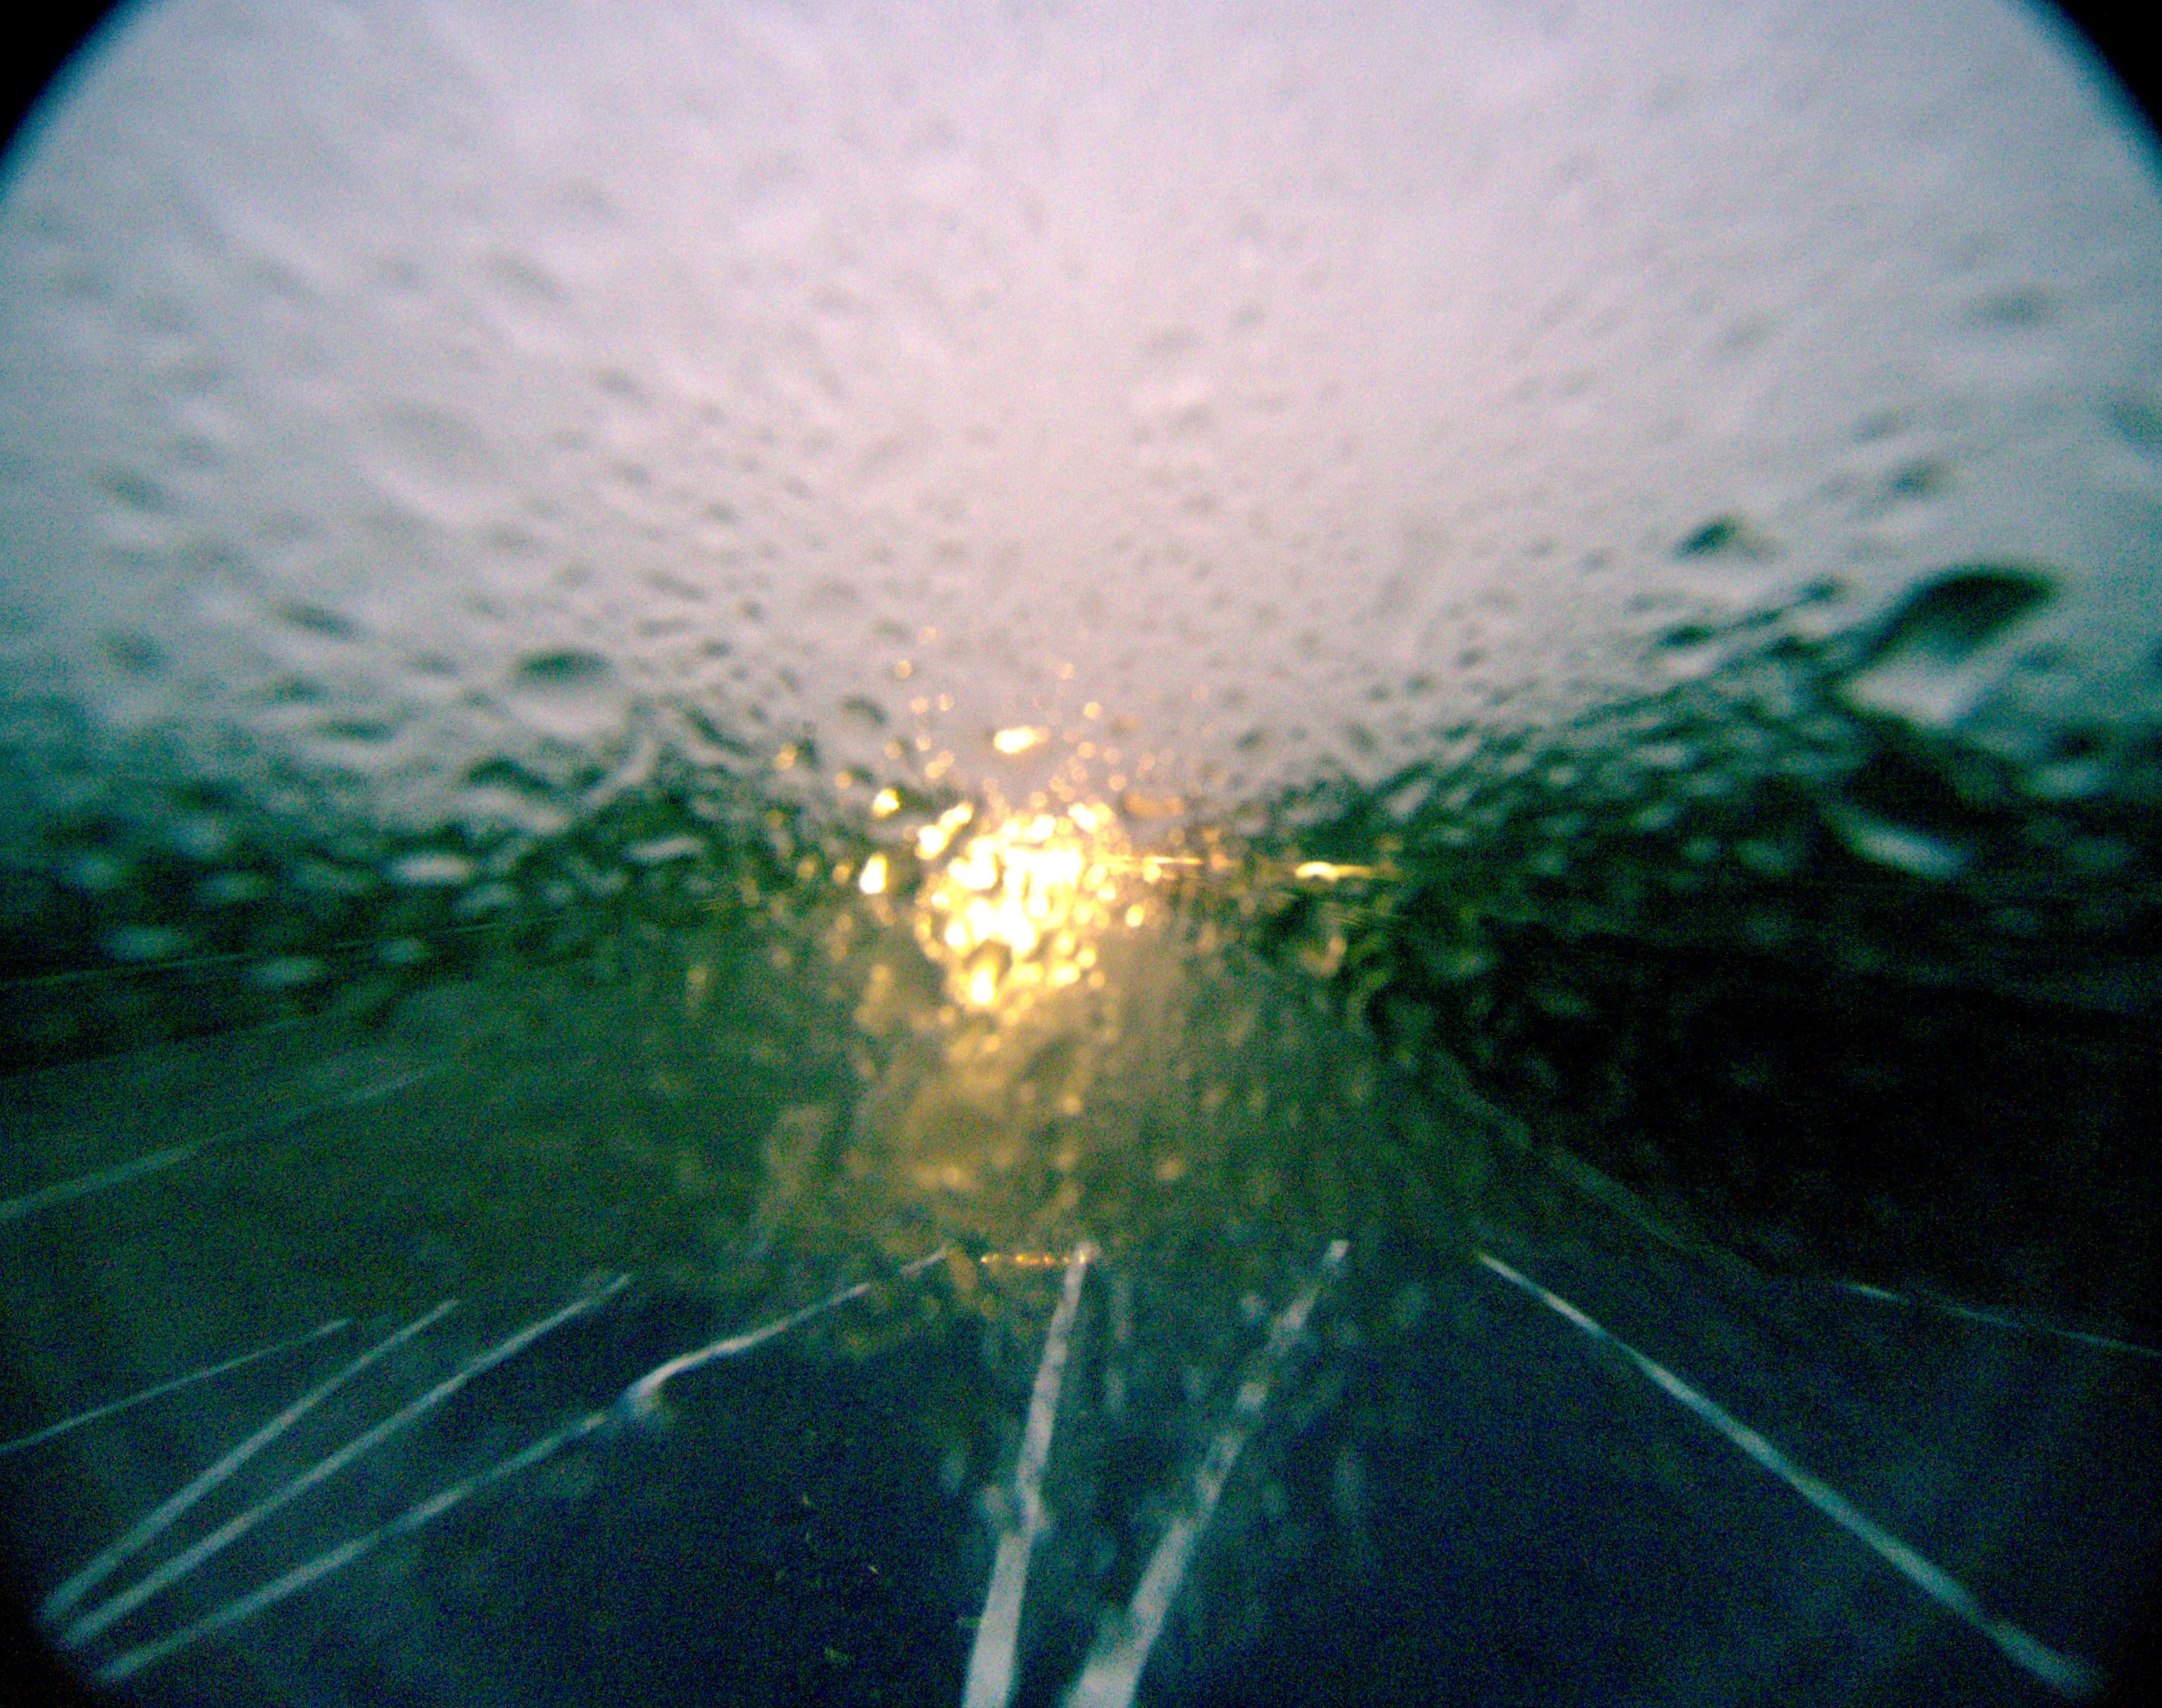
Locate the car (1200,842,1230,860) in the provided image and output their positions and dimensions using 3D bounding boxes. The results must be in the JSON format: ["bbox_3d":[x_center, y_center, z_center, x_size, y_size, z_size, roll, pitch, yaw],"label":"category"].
[{"bbox_3d":[10.748,-0.226,61.105,1.605,1.415,3.546,-1,0,-3],"label":"car"}]

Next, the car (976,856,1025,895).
[{"bbox_3d":[-3.422,0.901,32.894,1.802,1.494,3.999,-2,-1,-3],"label":"car"}]

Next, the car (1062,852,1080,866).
[{"bbox_3d":[-1.107,0.591,82.666,1.632,1.465,3.999,-1,0,-4],"label":"car"}]

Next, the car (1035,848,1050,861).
[{"bbox_3d":[-4.620,0.108,90.442,1.632,1.465,3.998,-1,0,-5],"label":"car"}]
